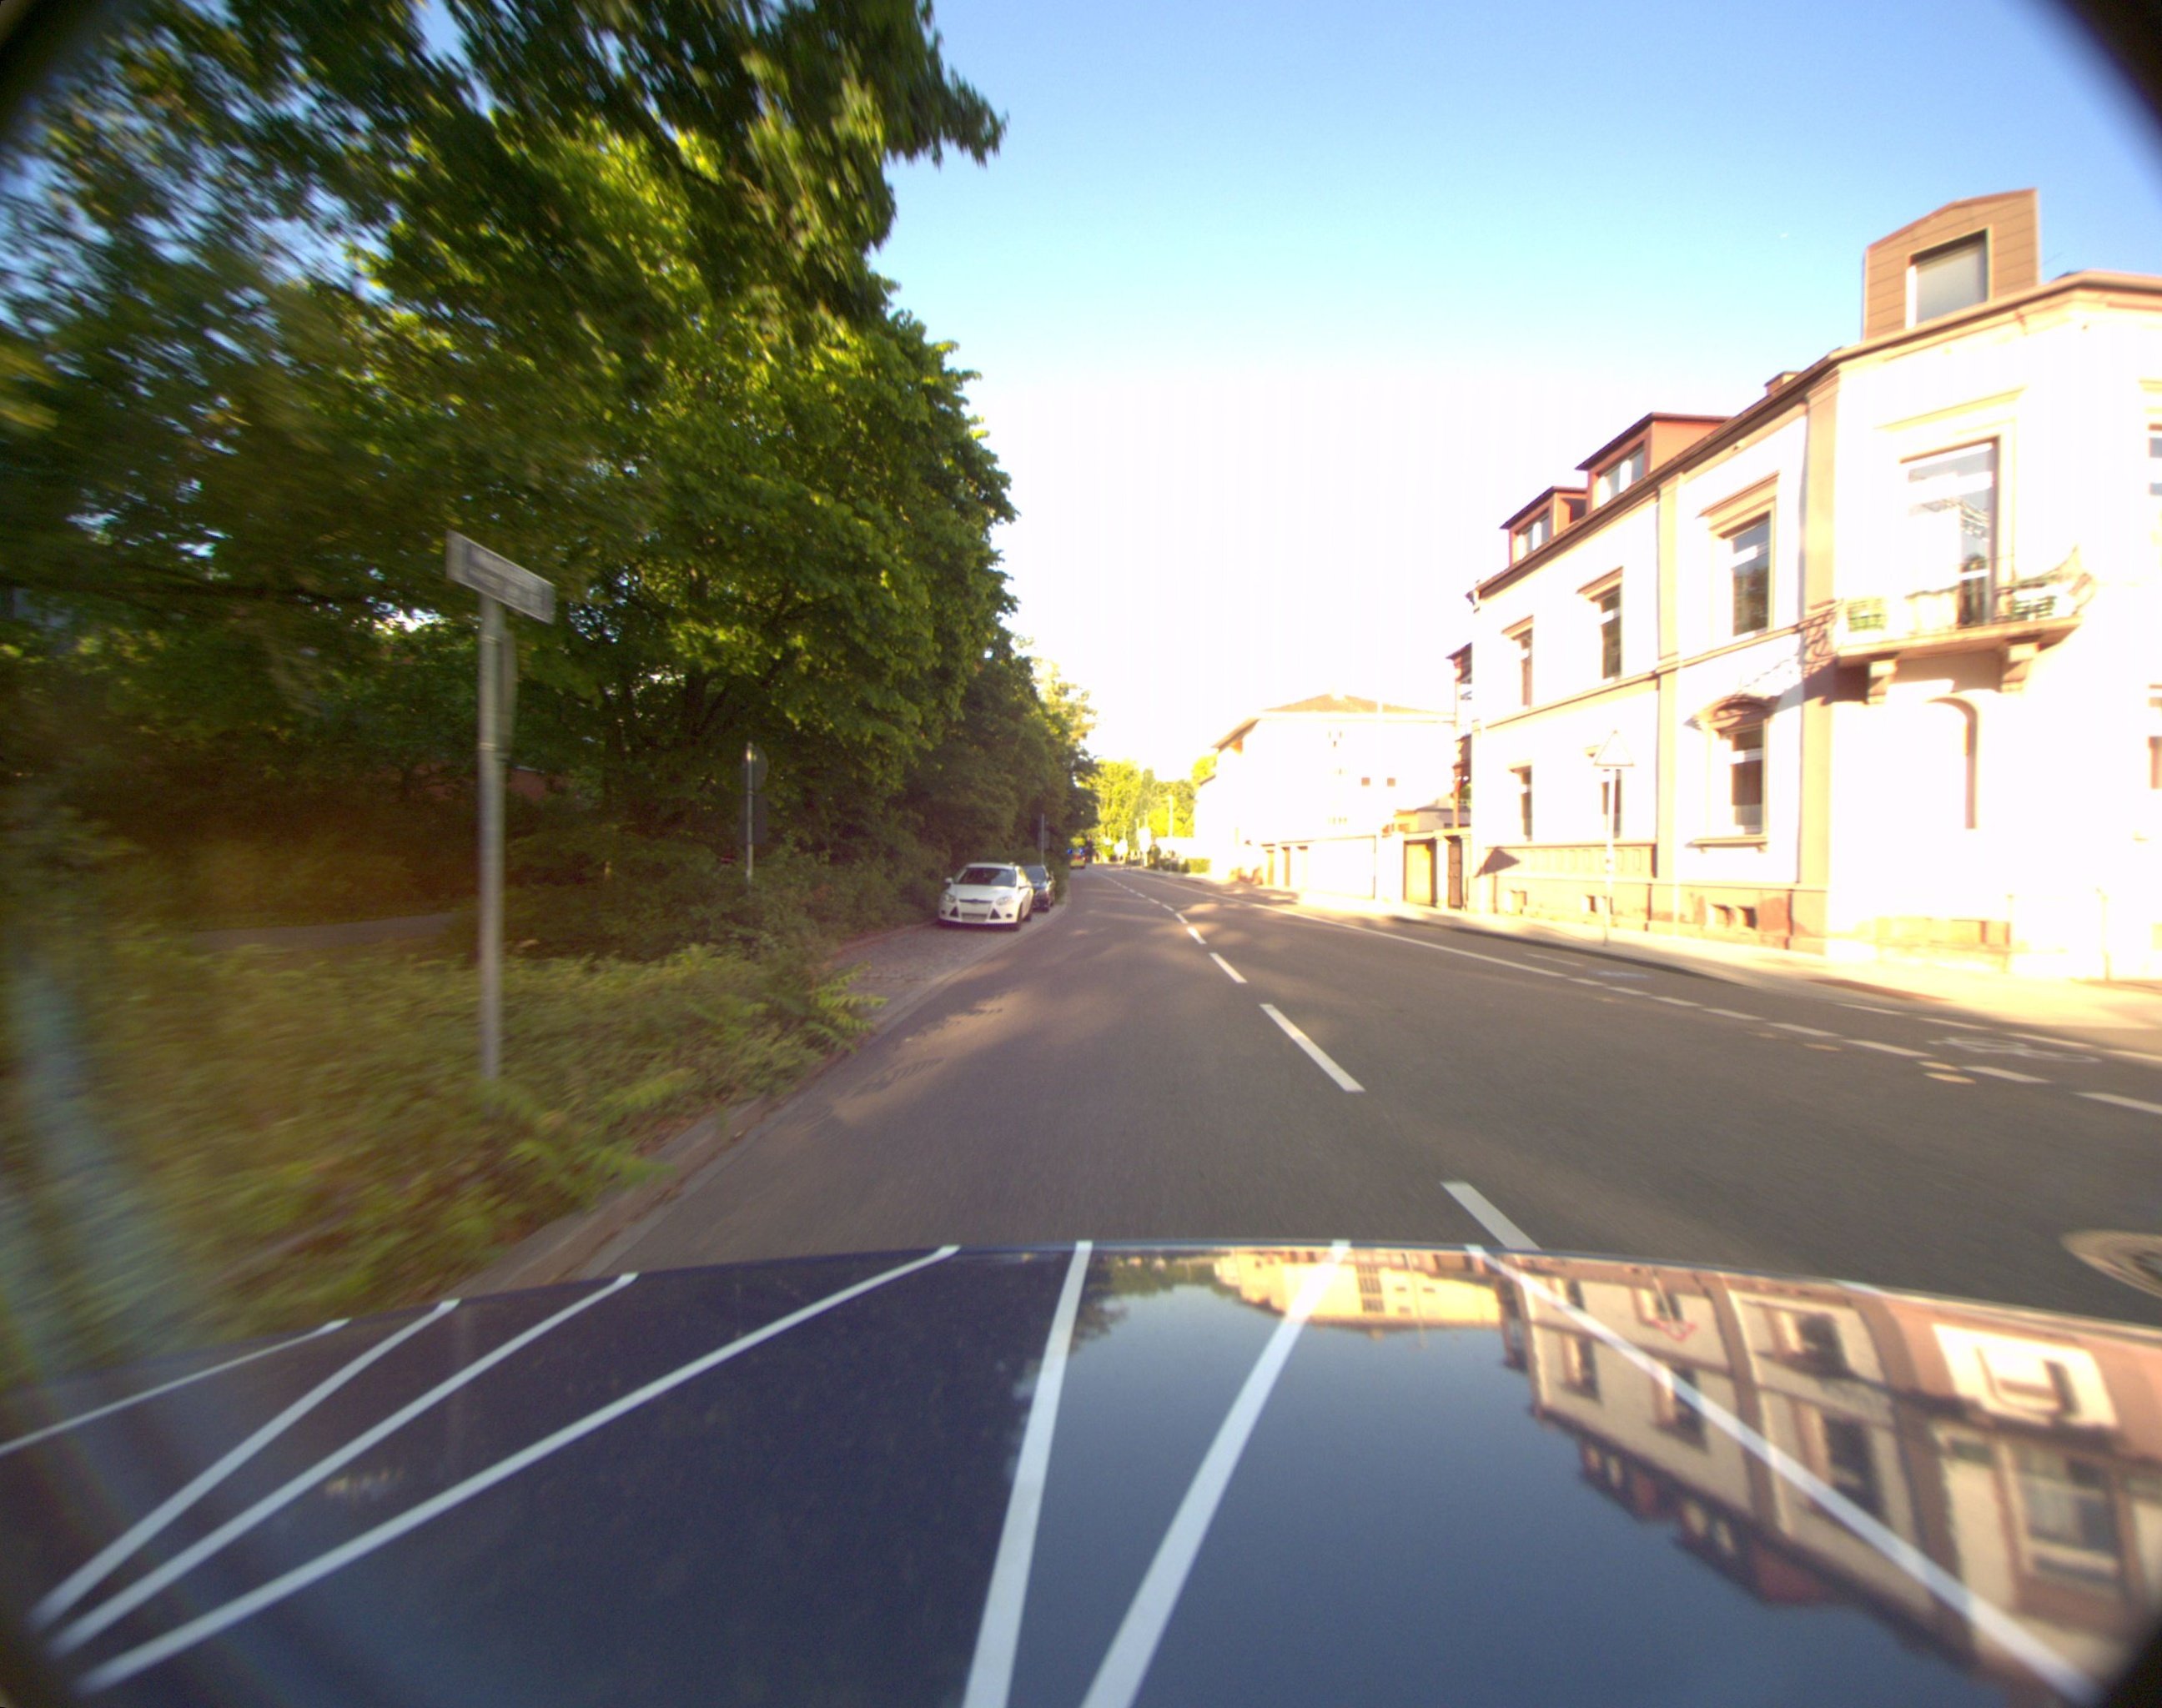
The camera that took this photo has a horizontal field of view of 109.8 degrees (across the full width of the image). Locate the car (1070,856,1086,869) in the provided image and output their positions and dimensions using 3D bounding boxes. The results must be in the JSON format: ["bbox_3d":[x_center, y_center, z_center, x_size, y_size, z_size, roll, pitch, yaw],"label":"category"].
[{"bbox_3d":[-0.461,1.333,117.201,2.228,2.002,4.891,0,0,2],"label":"car"}]

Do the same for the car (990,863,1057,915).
[{"bbox_3d":[-1.759,1.055,24.628,1.752,1.478,4.509,0,0,1],"label":"car"}]

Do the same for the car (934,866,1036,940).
[{"bbox_3d":[-2.146,1.061,18.117,1.752,1.478,4.177,0,0,2],"label":"car"}]

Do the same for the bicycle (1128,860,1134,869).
[{"bbox_3d":[6.267,1.298,95.965,0.576,1.056,1.849,0,0,-2],"label":"bicycle"}]

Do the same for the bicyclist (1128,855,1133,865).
[{"bbox_3d":[6.241,0.764,96.021,0.479,1.258,0.567,0,0,-2],"label":"bicyclist"}]
